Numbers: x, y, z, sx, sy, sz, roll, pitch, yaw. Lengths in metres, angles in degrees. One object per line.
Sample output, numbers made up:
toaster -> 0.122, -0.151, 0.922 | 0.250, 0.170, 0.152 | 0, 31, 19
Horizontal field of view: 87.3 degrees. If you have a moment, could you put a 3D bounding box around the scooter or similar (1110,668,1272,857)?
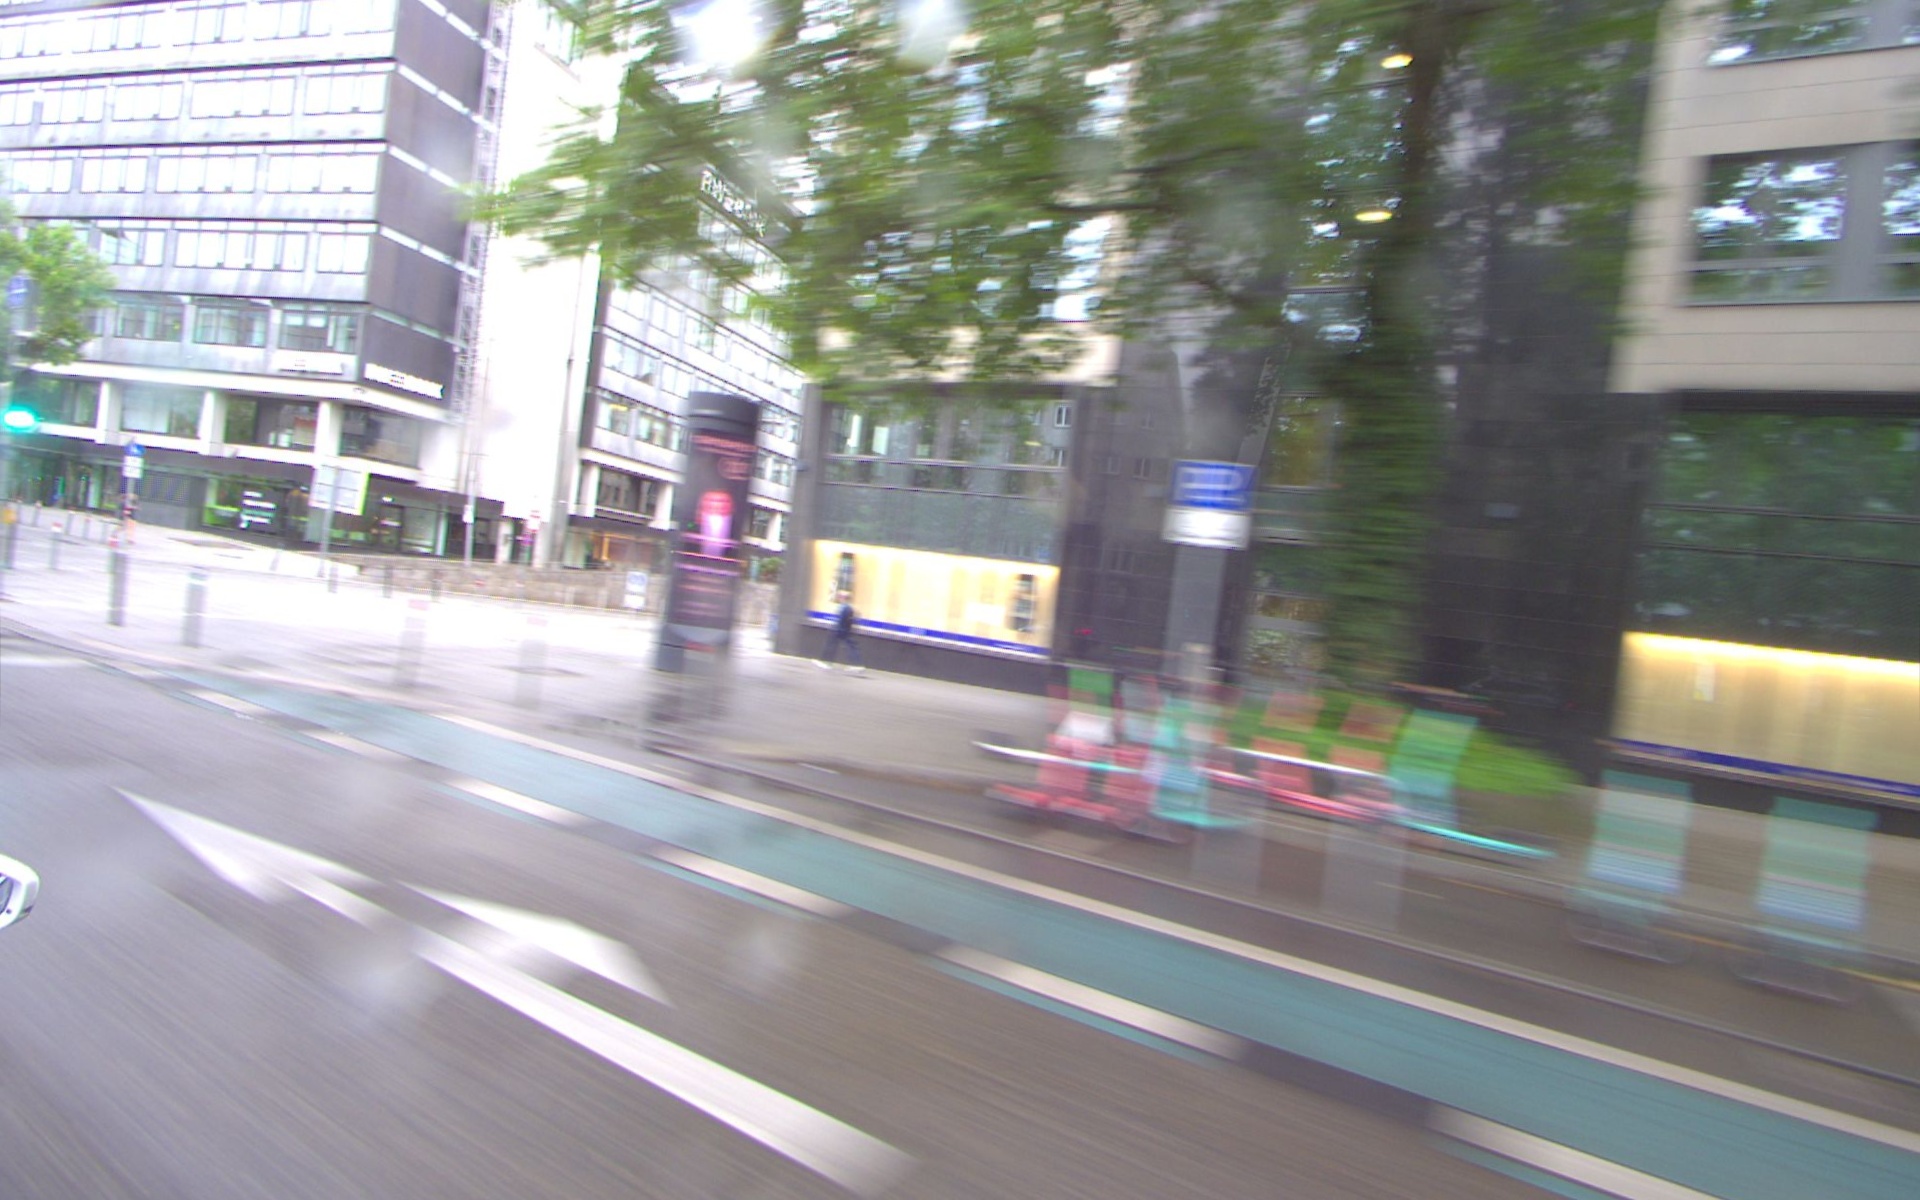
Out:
scooter or similar -> 1.801, 1.213, 7.746 | 0.482, 1.276, 1.286 | 10, 3, 43

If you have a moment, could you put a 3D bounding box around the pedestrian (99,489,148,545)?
pedestrian -> -28.467, -2.838, 34.244 | 1.167, 1.716, 0.806 | 7, 0, 31

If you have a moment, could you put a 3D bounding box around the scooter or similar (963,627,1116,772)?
scooter or similar -> 0.772, 0.948, 9.796 | 1.270, 1.212, 0.489 | 6, 0, 22

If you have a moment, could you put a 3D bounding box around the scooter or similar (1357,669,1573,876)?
scooter or similar -> 3.826, 1.261, 7.666 | 1.272, 1.276, 0.488 | 9, 3, 31

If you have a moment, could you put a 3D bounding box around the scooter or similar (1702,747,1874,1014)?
scooter or similar -> 4.845, 1.576, 5.958 | 0.481, 1.252, 1.290 | 9, 2, 33

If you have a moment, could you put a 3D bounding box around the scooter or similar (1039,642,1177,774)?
scooter or similar -> 1.551, 1.131, 10.685 | 1.269, 1.212, 0.489 | 7, 0, 0

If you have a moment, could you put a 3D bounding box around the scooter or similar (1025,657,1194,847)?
scooter or similar -> 1.165, 1.131, 7.699 | 0.482, 1.276, 1.286 | 10, 3, 43

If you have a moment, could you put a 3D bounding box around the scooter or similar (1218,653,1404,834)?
scooter or similar -> 2.993, 1.188, 8.624 | 1.272, 1.276, 0.488 | 9, 3, 31

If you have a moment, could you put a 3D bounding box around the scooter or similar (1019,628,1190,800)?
scooter or similar -> 1.279, 0.985, 9.010 | 1.272, 1.276, 0.488 | 9, 3, 31

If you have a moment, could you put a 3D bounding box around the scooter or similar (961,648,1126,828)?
scooter or similar -> 0.694, 1.084, 8.079 | 0.482, 1.276, 1.286 | 10, 3, 43

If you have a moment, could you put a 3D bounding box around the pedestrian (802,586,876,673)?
pedestrian -> -2.874, 0.707, 23.994 | 1.256, 1.872, 0.918 | 6, -1, 32

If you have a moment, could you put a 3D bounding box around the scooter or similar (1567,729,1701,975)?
scooter or similar -> 4.223, 1.510, 6.339 | 0.481, 1.252, 1.290 | 9, 2, 33

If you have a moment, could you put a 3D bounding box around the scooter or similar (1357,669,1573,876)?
scooter or similar -> 3.826, 1.261, 7.666 | 1.272, 1.276, 0.488 | 9, 3, 31
